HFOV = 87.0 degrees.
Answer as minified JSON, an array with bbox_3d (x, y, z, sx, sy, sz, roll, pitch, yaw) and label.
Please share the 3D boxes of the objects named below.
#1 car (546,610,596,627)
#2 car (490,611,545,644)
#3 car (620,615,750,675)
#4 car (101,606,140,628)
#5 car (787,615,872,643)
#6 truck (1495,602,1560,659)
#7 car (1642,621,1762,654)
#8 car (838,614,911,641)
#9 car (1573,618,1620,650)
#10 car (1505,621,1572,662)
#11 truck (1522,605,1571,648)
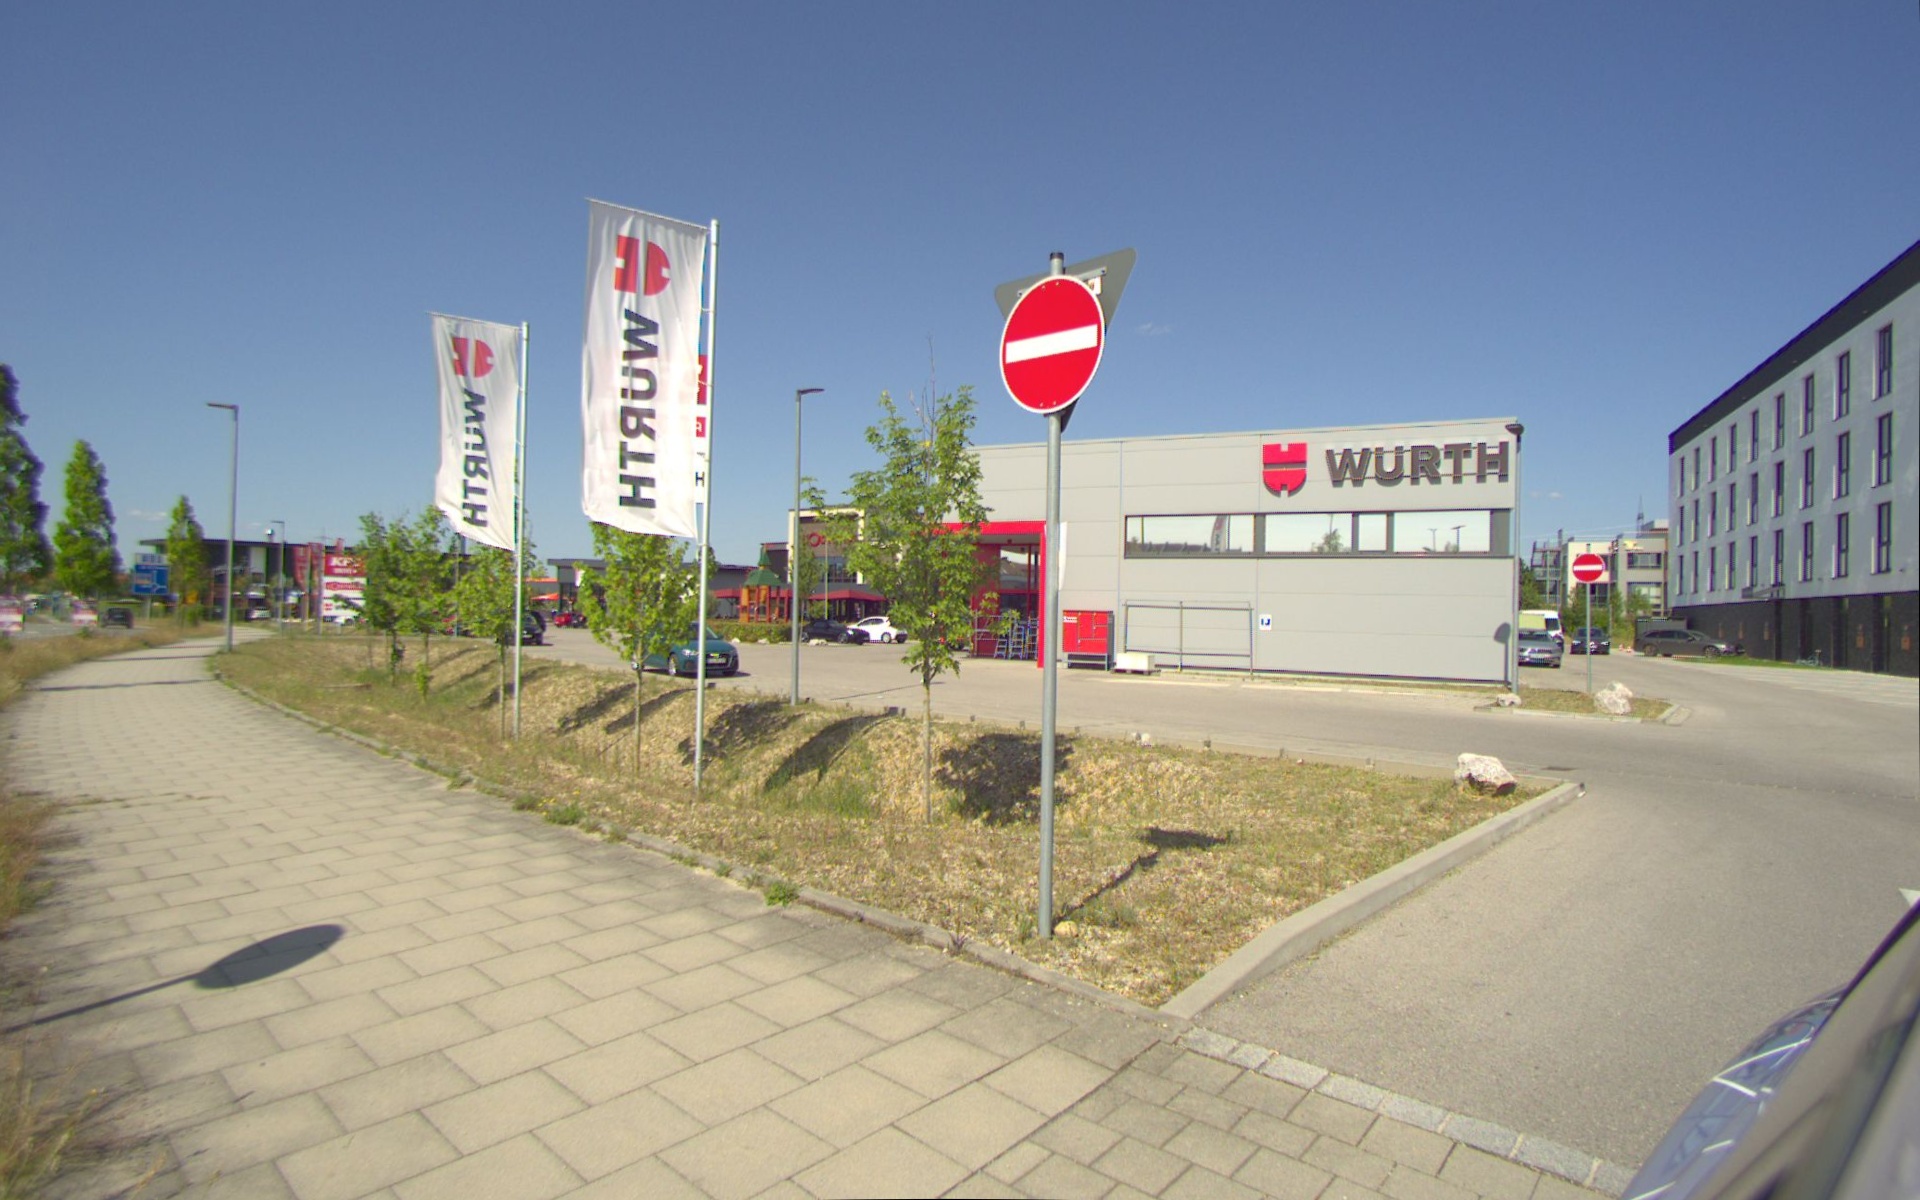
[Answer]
[{"bbox_3d":[-36.252,1.751,94.427,1.867,1.586,4.042,0,-1,36],"label":"car"},{"bbox_3d":[-20.880,1.269,47.663,1.841,1.484,4.367,1,-1,-31],"label":"car"},{"bbox_3d":[-7.508,1.162,27.396,1.813,1.468,4.221,2,-1,-39],"label":"car"},{"bbox_3d":[-61.528,1.208,74.261,1.878,1.571,4.387,1,0,-36],"label":"car"},{"bbox_3d":[-6.889,1.499,53.274,4.110,1.355,1.815,0,-1,25],"label":"car"},{"bbox_3d":[25.657,1.327,45.924,2.102,2.407,5.838,0,-1,25],"label":"truck"},{"bbox_3d":[37.170,1.866,50.824,1.841,1.527,4.530,1,-1,-28],"label":"car"},{"bbox_3d":[-4.872,1.552,57.652,3.880,1.493,1.784,0,-1,30],"label":"car"},{"bbox_3d":[34.822,1.845,55.338,1.710,1.638,3.943,0,-1,39],"label":"car"},{"bbox_3d":[22.769,1.598,39.965,1.858,1.527,3.968,0,-1,23],"label":"car"},{"bbox_3d":[34.384,1.526,59.450,1.979,2.407,5.838,0,-1,25],"label":"truck"}]
